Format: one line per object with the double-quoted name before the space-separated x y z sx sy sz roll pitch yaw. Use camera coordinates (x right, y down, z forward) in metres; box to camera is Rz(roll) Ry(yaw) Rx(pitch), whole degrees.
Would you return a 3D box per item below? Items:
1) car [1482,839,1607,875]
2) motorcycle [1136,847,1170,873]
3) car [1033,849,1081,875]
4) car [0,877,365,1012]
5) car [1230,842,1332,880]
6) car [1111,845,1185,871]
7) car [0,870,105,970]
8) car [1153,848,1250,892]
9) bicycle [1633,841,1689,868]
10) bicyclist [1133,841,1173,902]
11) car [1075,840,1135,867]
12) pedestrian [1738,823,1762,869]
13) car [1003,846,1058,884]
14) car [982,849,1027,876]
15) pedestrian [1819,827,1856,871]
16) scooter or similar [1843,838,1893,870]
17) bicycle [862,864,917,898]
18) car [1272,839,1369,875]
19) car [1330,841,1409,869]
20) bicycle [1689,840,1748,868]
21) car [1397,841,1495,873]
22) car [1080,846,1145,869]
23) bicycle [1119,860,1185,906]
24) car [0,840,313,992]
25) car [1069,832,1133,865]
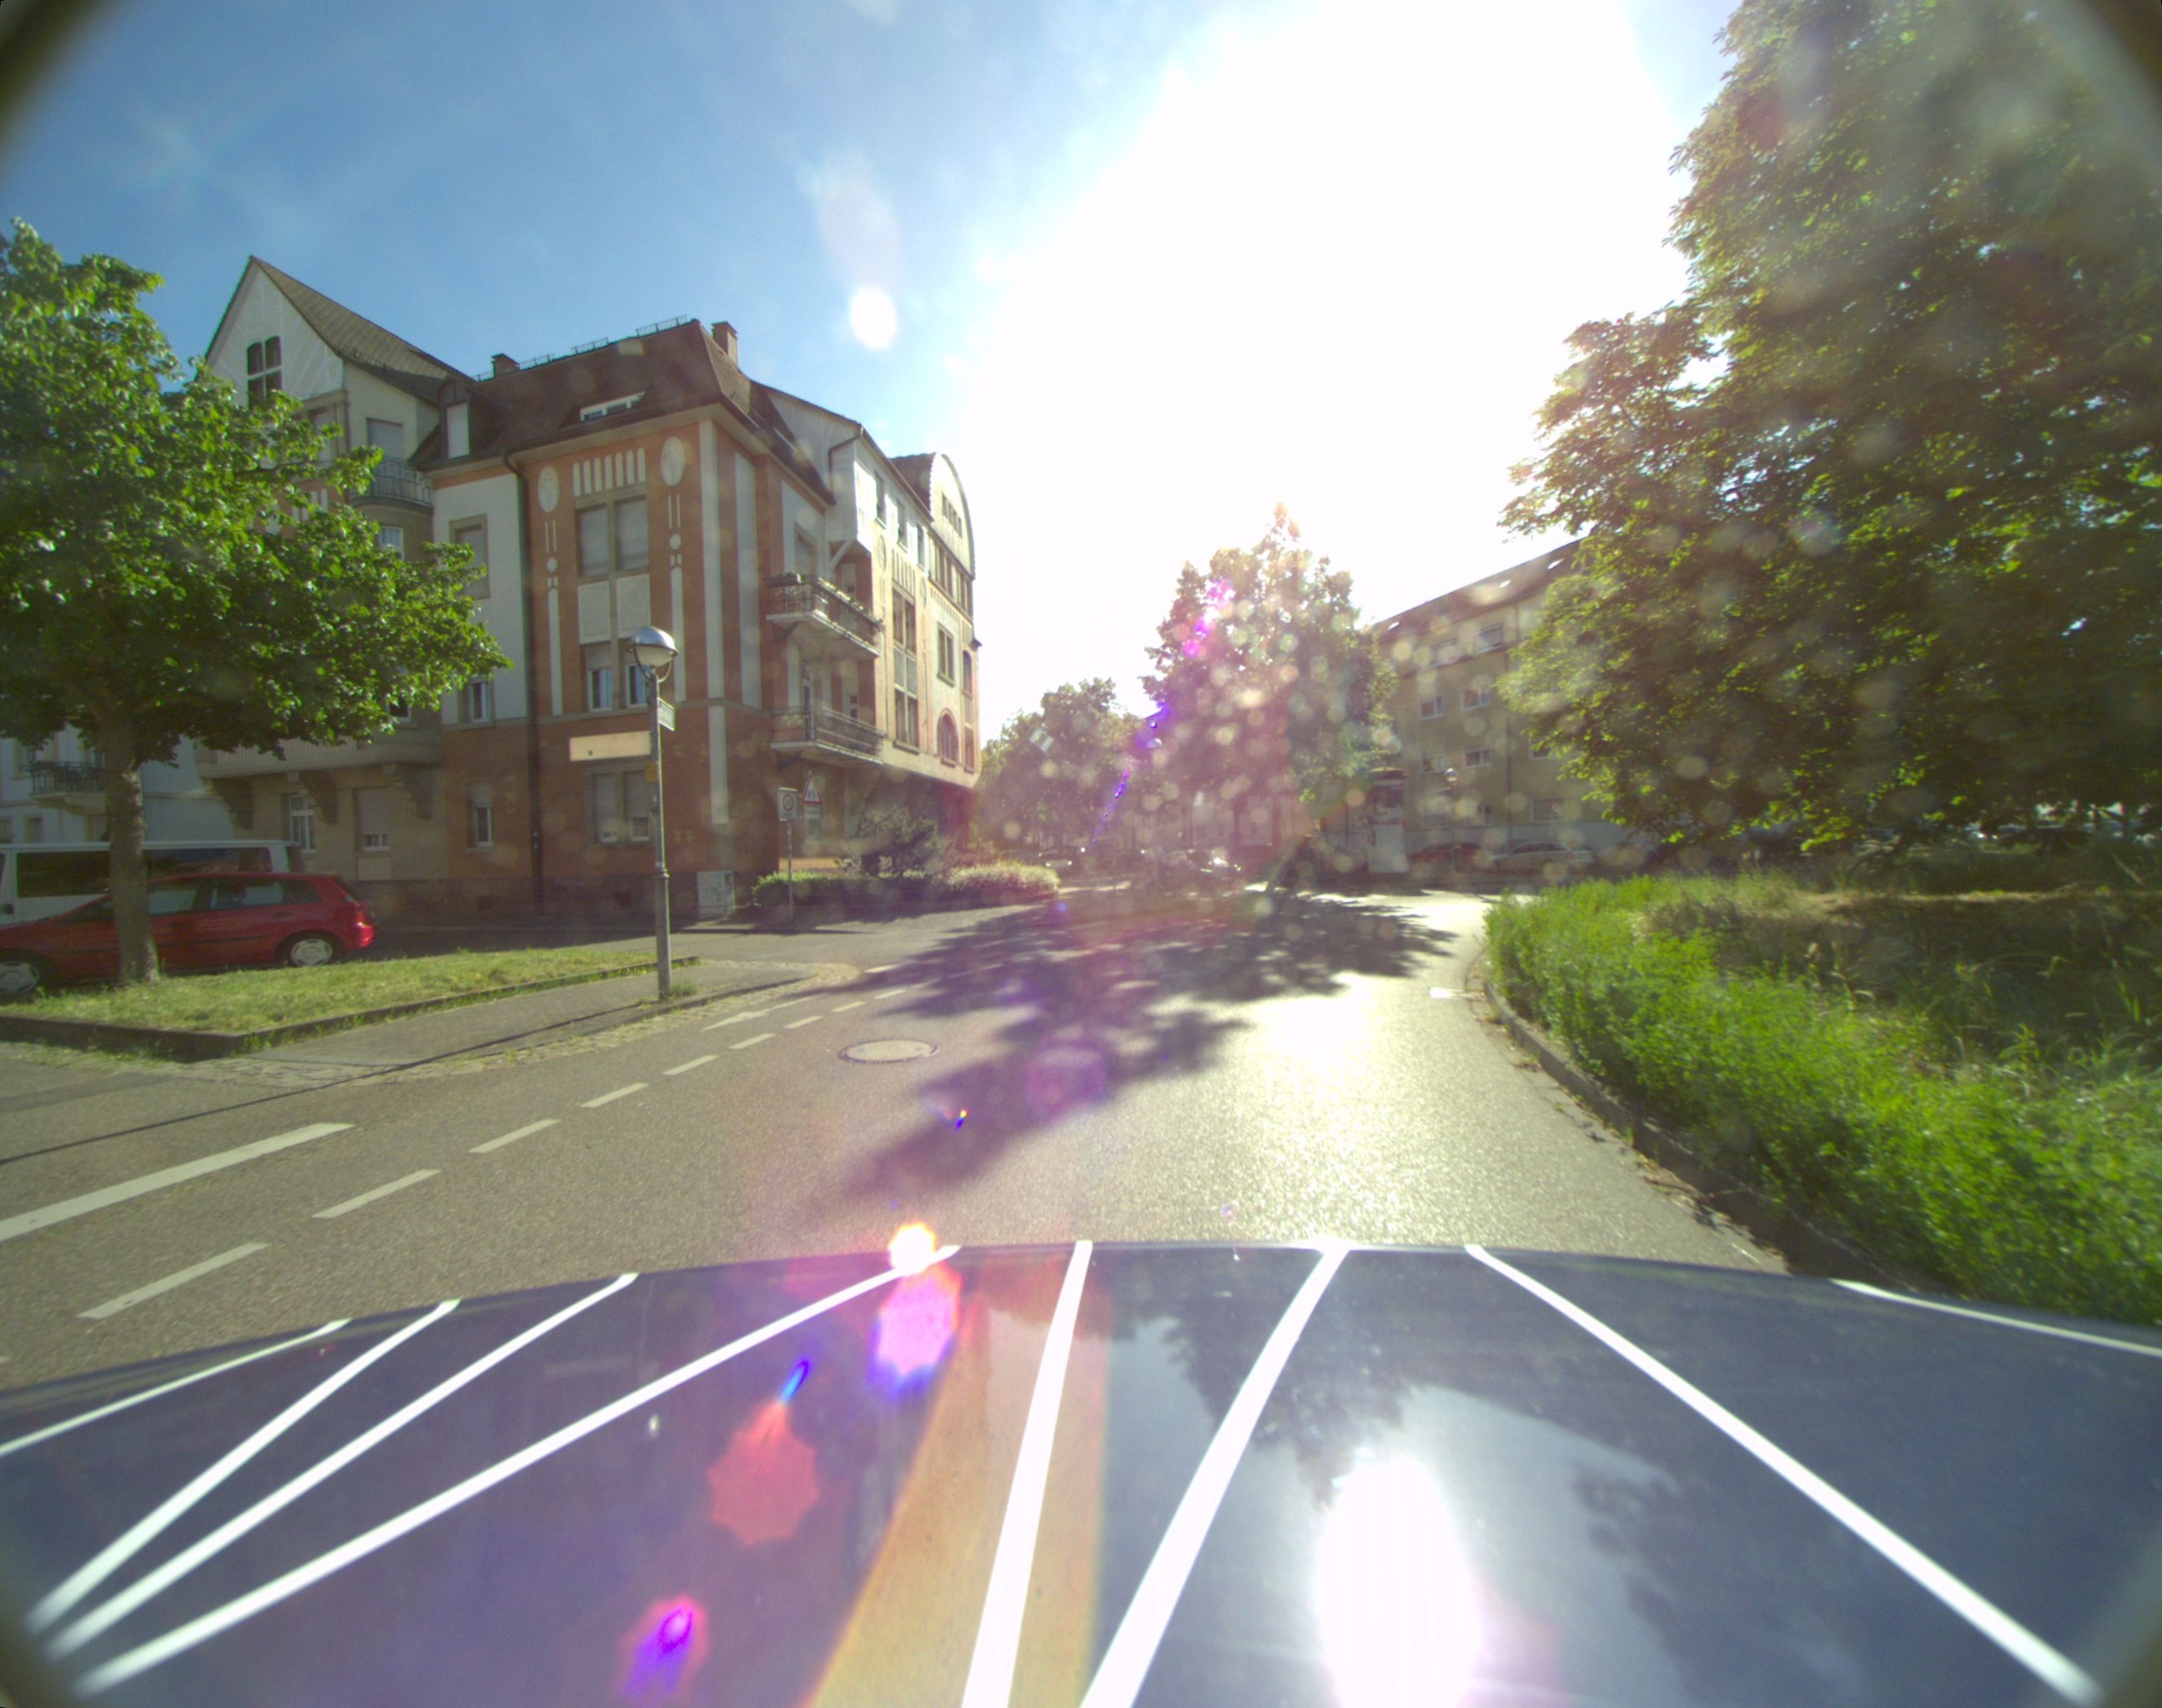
"car" 19.930 0.140 32.918 1.734 1.403 4.482 -2 0 -20
"motorcycle" 3.955 0.314 41.425 1.803 1.340 0.726 -2 1 -38
"car" -1.505 0.499 46.340 1.799 1.427 4.202 -3 1 -18
"car" -12.282 1.115 10.244 3.703 1.427 1.664 -2 1 -41
"car" 8.418 0.279 31.925 3.991 1.464 1.762 -1 0 20
"car" 3.945 0.234 44.768 3.991 1.433 1.826 -1 1 18
"car" -20.750 1.232 13.436 3.963 1.728 1.756 -2 1 -41
"car" 4.416 0.570 28.528 1.799 1.427 4.202 -3 1 -18
"bicycle" 24.481 0.036 32.087 0.501 1.101 1.796 -2 1 -30
"bicyclist" 2.042 0.479 21.530 0.814 1.686 0.763 -3 2 -42
"car" 1.794 -0.031 56.136 3.991 1.887 1.826 -1 1 18
"pedestrian" 25.528 -0.303 29.004 0.607 1.684 0.555 -2 4 44
"car" -2.742 0.559 40.104 1.799 1.757 4.202 -4 1 -18
"car" -4.686 0.512 46.020 1.799 1.445 4.202 -4 1 -18
"pedestrian" 27.221 -0.196 27.339 0.696 1.515 0.651 -4 3 22
"scooter or similar" 28.029 -0.008 27.074 0.897 1.017 0.918 -4 3 22
"bicycle" -6.306 0.884 25.034 1.672 1.065 0.500 -1 1 9
"car" 10.629 0.142 33.799 3.991 1.464 1.762 -1 0 19
"car" 16.293 0.051 43.208 1.737 1.430 4.380 -2 0 -20
"bicycle" 25.793 -0.007 30.763 0.501 1.101 1.795 -2 1 -45
"car" 18.078 0.145 37.865 1.737 1.430 4.380 -2 0 -20
"car" 2.106 0.230 50.919 3.991 1.445 1.826 -1 1 18
"bicycle" 2.022 0.803 21.532 1.873 1.191 0.763 -3 2 -42
"car" -15.029 0.862 11.363 4.714 2.033 1.989 -2 1 -38
"car" 1.589 -0.409 59.755 4.586 2.476 1.988 -1 1 14
